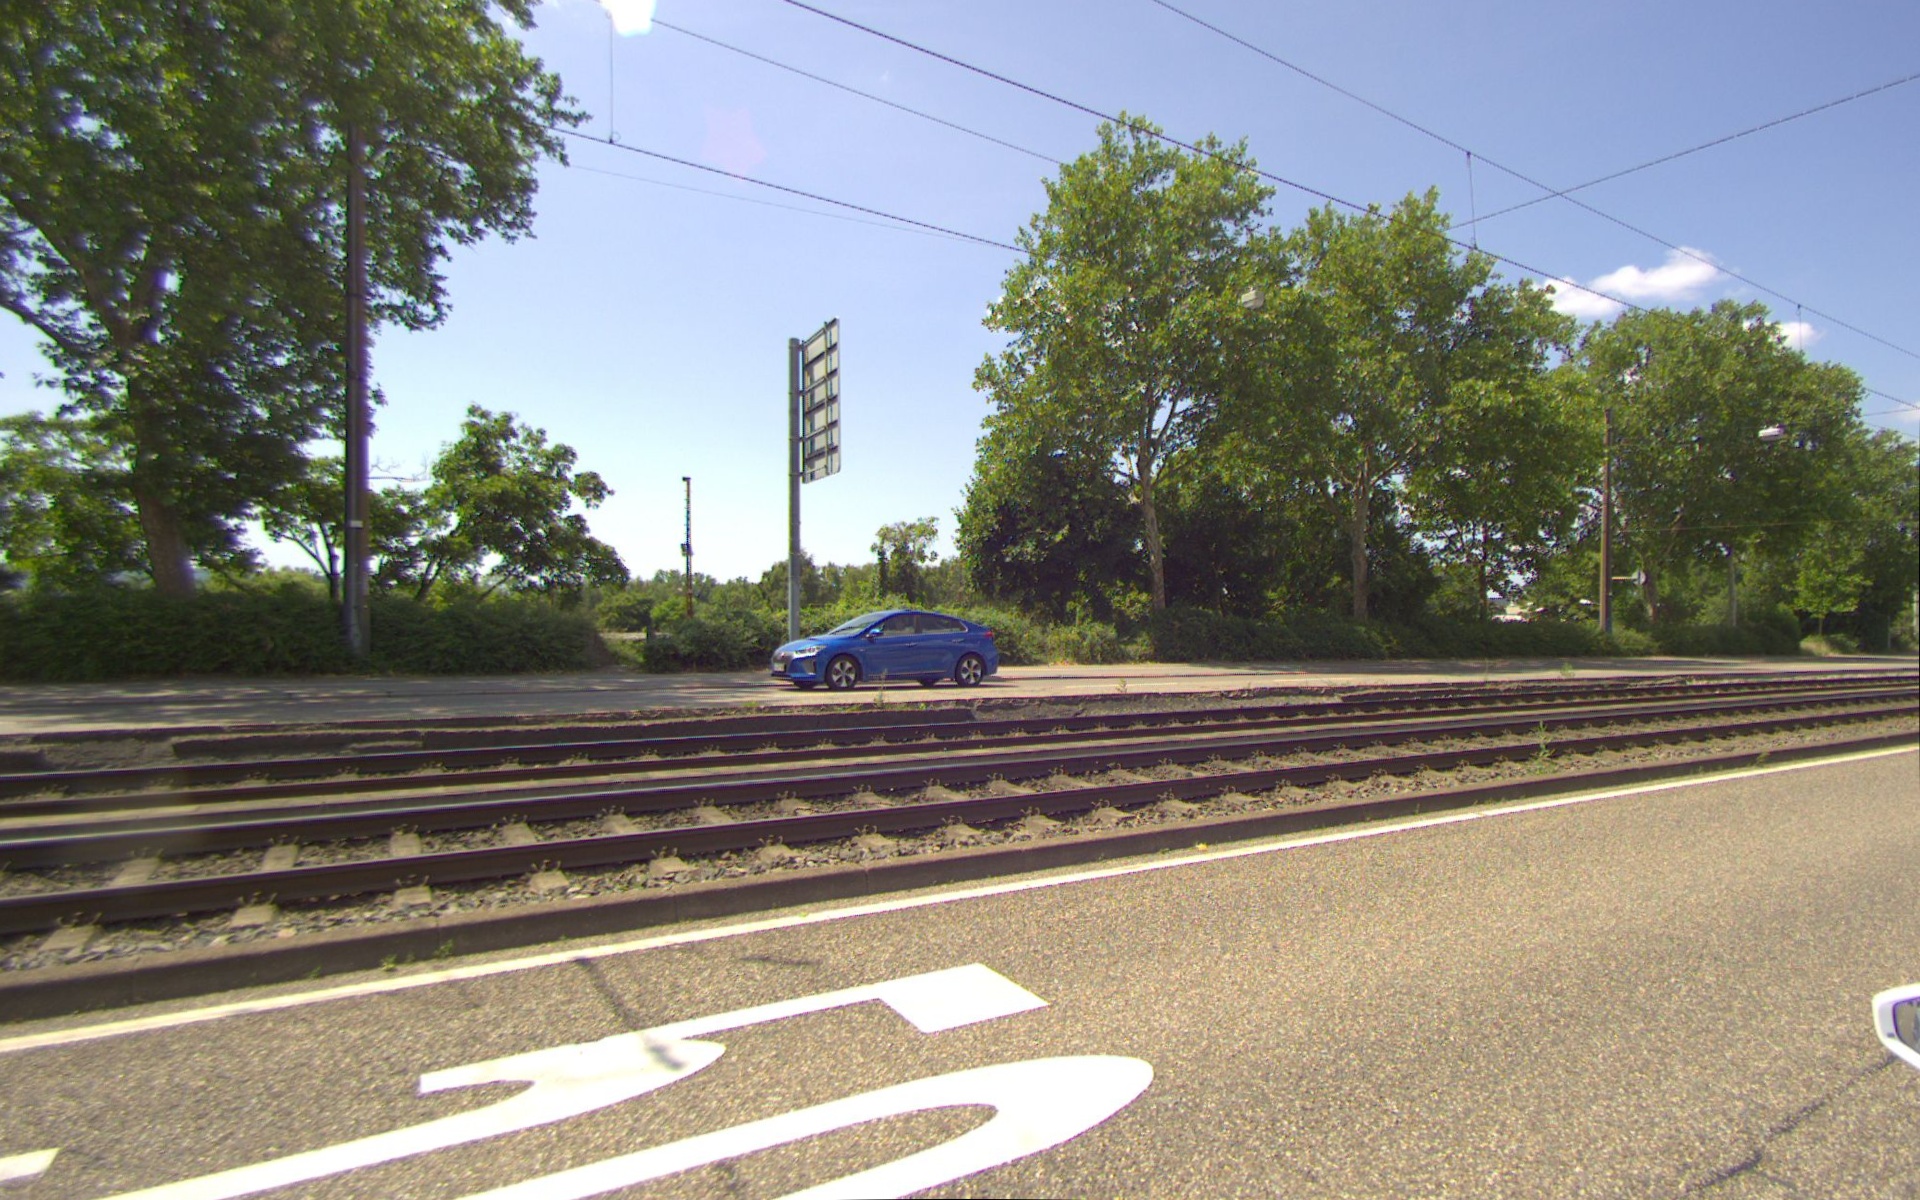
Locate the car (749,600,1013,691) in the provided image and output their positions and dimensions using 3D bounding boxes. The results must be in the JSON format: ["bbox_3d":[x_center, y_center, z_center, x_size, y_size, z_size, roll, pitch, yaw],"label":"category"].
[{"bbox_3d":[-1.417,0.841,18.862,4.684,1.523,1.789,1,-3,-33],"label":"car"}]
